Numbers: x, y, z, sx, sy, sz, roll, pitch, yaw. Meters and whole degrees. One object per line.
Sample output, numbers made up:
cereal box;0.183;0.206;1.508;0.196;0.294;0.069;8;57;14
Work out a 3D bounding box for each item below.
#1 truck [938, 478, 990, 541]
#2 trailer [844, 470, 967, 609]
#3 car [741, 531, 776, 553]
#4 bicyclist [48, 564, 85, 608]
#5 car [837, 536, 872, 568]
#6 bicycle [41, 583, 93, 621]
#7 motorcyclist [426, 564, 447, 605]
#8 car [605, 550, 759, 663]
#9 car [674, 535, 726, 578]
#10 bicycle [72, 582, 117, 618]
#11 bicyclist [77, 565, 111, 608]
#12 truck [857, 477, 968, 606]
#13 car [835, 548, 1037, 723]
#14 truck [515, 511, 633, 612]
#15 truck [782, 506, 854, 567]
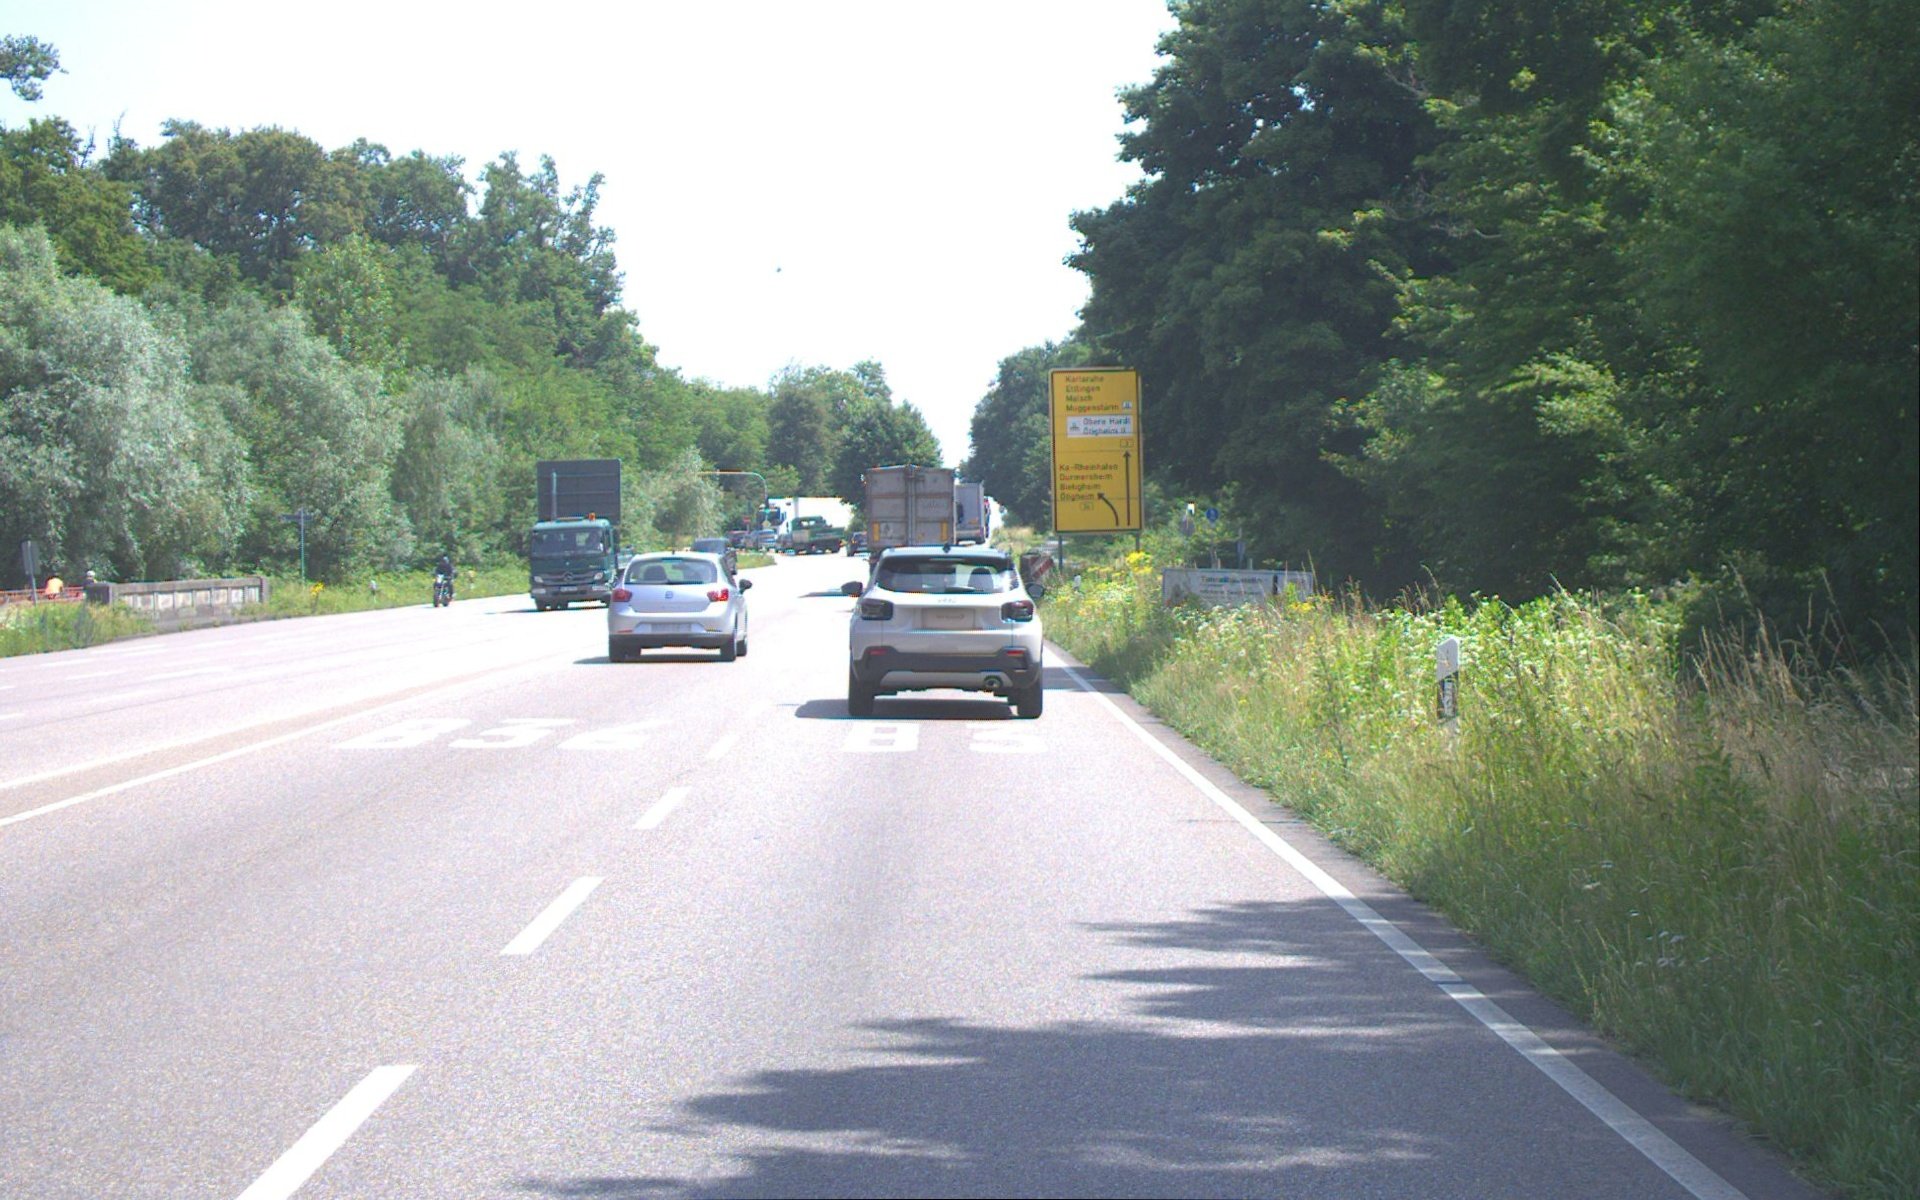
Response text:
truck;0.229;-6.211;238.995;3.497;4.173;10.784;0;0;0
trailer;-1.547;-1.786;104.330;3.383;3.975;10.804;0;0;1
car;-15.126;-4.329;258.058;1.993;1.579;4.001;0;0;-14
bicyclist;-24.800;-0.398;95.410;0.757;1.191;0.592;-2;1;11
car;-6.704;-3.063;219.037;1.993;2.007;4.554;-2;1;1
bicycle;-24.786;0.056;95.431;0.676;1.002;1.800;-2;1;10
motorcyclist;-17.614;-0.520;115.764;0.577;1.349;0.754;-2;0;-2
car;-3.658;0.059;45.738;1.666;1.425;3.828;0;1;1
car;-11.875;-1.987;157.140;1.993;1.875;4.960;-2;1;0
bicycle;-24.796;-0.002;98.526;0.604;1.002;1.555;-2;0;11
bicyclist;-24.810;-0.393;98.477;0.735;1.191;0.591;-2;0;11
truck;-1.465;-1.832;109.576;3.333;3.975;6.533;0;0;1
car;-0.178;0.285;32.331;1.767;1.529;4.000;0;1;1
truck;-11.036;-1.132;98.782;2.454;2.647;6.491;-4;1;1
truck;-9.978;-4.384;240.434;3.645;4.091;9.512;-2;1;-10
